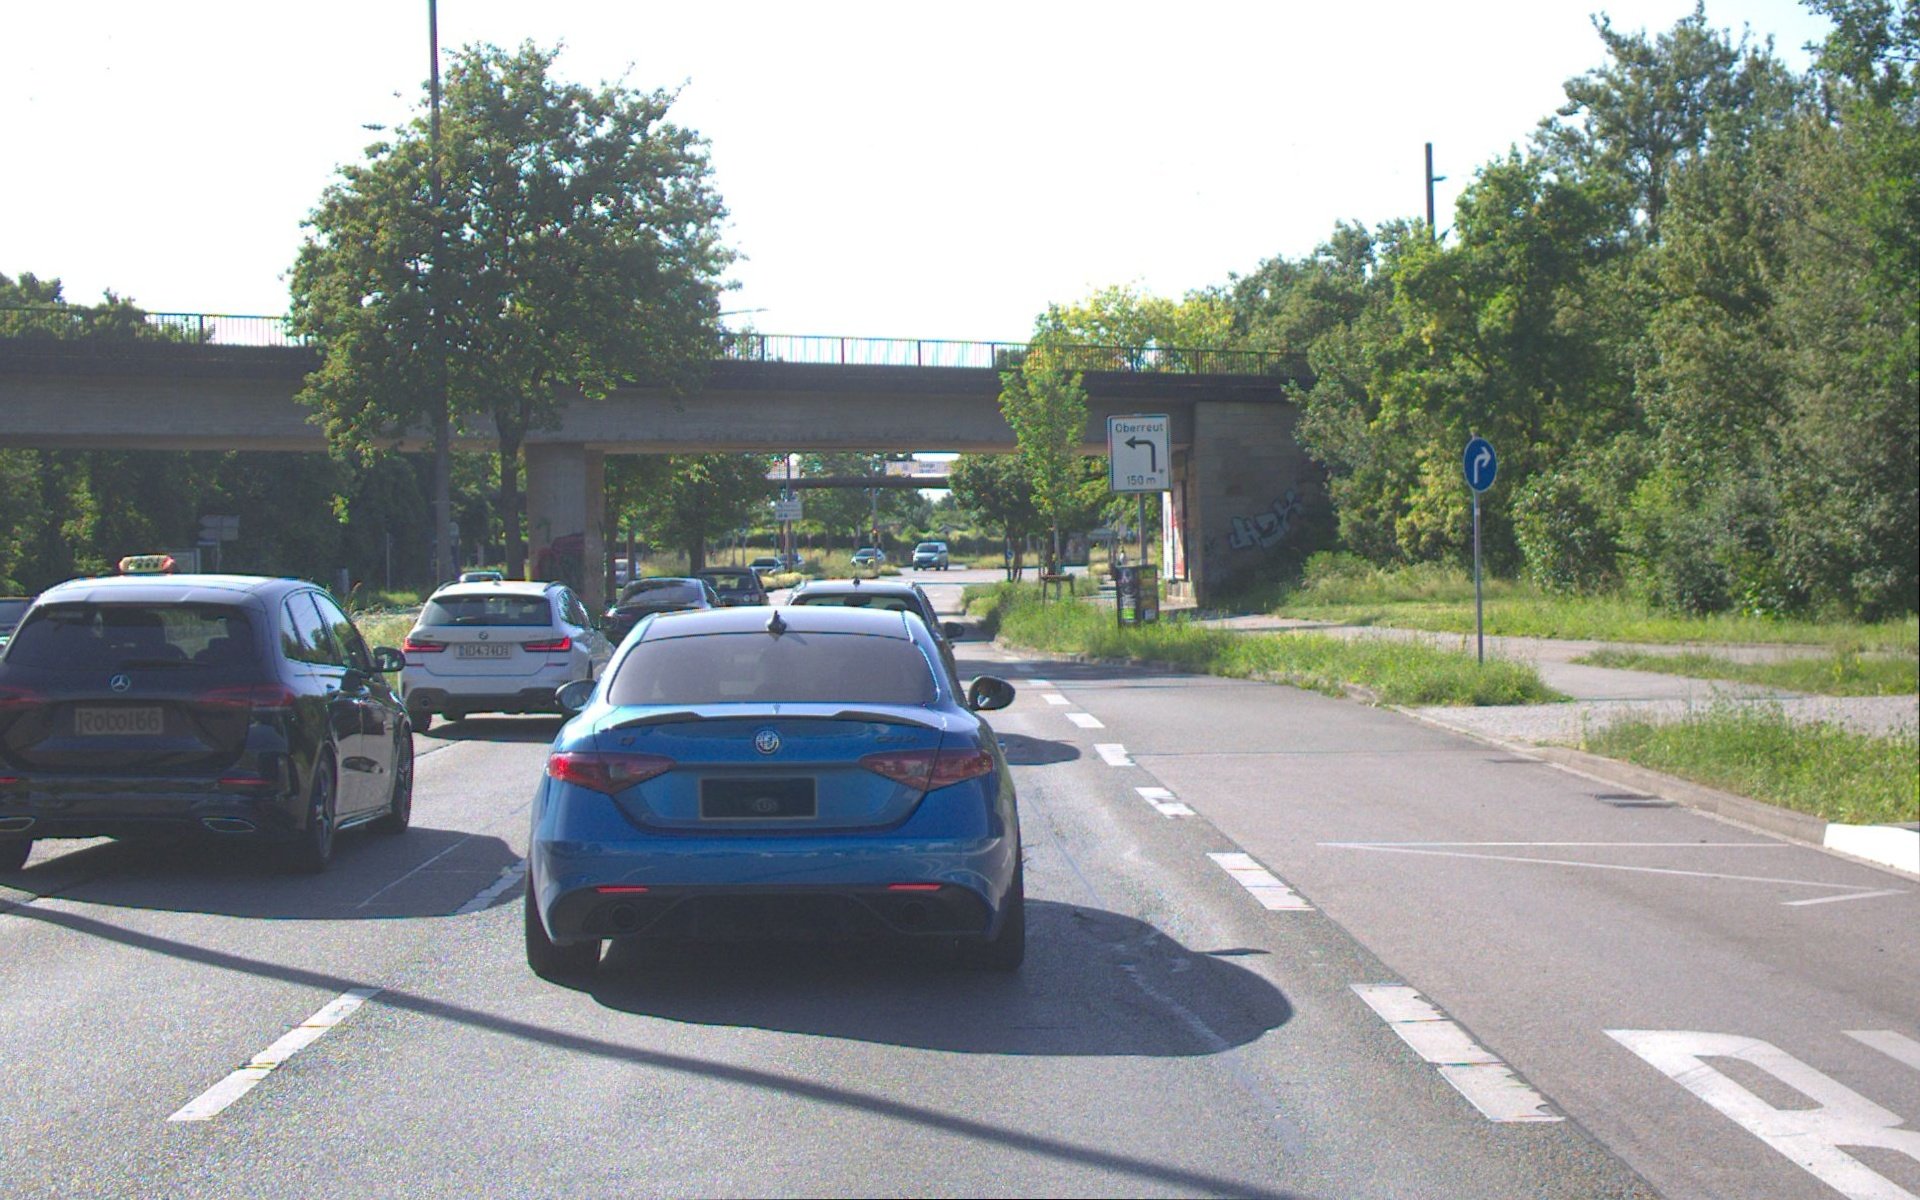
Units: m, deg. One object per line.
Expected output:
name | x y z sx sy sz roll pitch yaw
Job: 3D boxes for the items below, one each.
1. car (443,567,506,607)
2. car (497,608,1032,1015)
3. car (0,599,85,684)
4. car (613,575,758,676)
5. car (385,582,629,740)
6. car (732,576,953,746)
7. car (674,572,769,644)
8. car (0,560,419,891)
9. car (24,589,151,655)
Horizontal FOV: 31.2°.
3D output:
car | -18.075 -0.487 128.163 1.816 1.437 4.090 -1 0 -1
car | -0.726 0.755 14.293 1.883 1.401 4.224 0 0 -1
car | -17.167 0.751 61.603 1.817 1.430 4.631 -3 0 -1
car | -4.106 0.357 52.023 1.883 1.449 4.526 0 0 -1
car | -4.427 0.555 34.213 1.883 1.449 4.526 0 0 -1
car | -1.043 0.512 31.761 1.883 1.449 4.526 0 0 -1
car | -5.054 0.157 73.344 1.779 1.449 4.182 -1 1 -1
car | -4.113 0.598 18.773 1.708 1.592 4.224 0 0 -1
car | -20.966 0.510 82.763 1.914 1.449 4.490 -3 0 -1
